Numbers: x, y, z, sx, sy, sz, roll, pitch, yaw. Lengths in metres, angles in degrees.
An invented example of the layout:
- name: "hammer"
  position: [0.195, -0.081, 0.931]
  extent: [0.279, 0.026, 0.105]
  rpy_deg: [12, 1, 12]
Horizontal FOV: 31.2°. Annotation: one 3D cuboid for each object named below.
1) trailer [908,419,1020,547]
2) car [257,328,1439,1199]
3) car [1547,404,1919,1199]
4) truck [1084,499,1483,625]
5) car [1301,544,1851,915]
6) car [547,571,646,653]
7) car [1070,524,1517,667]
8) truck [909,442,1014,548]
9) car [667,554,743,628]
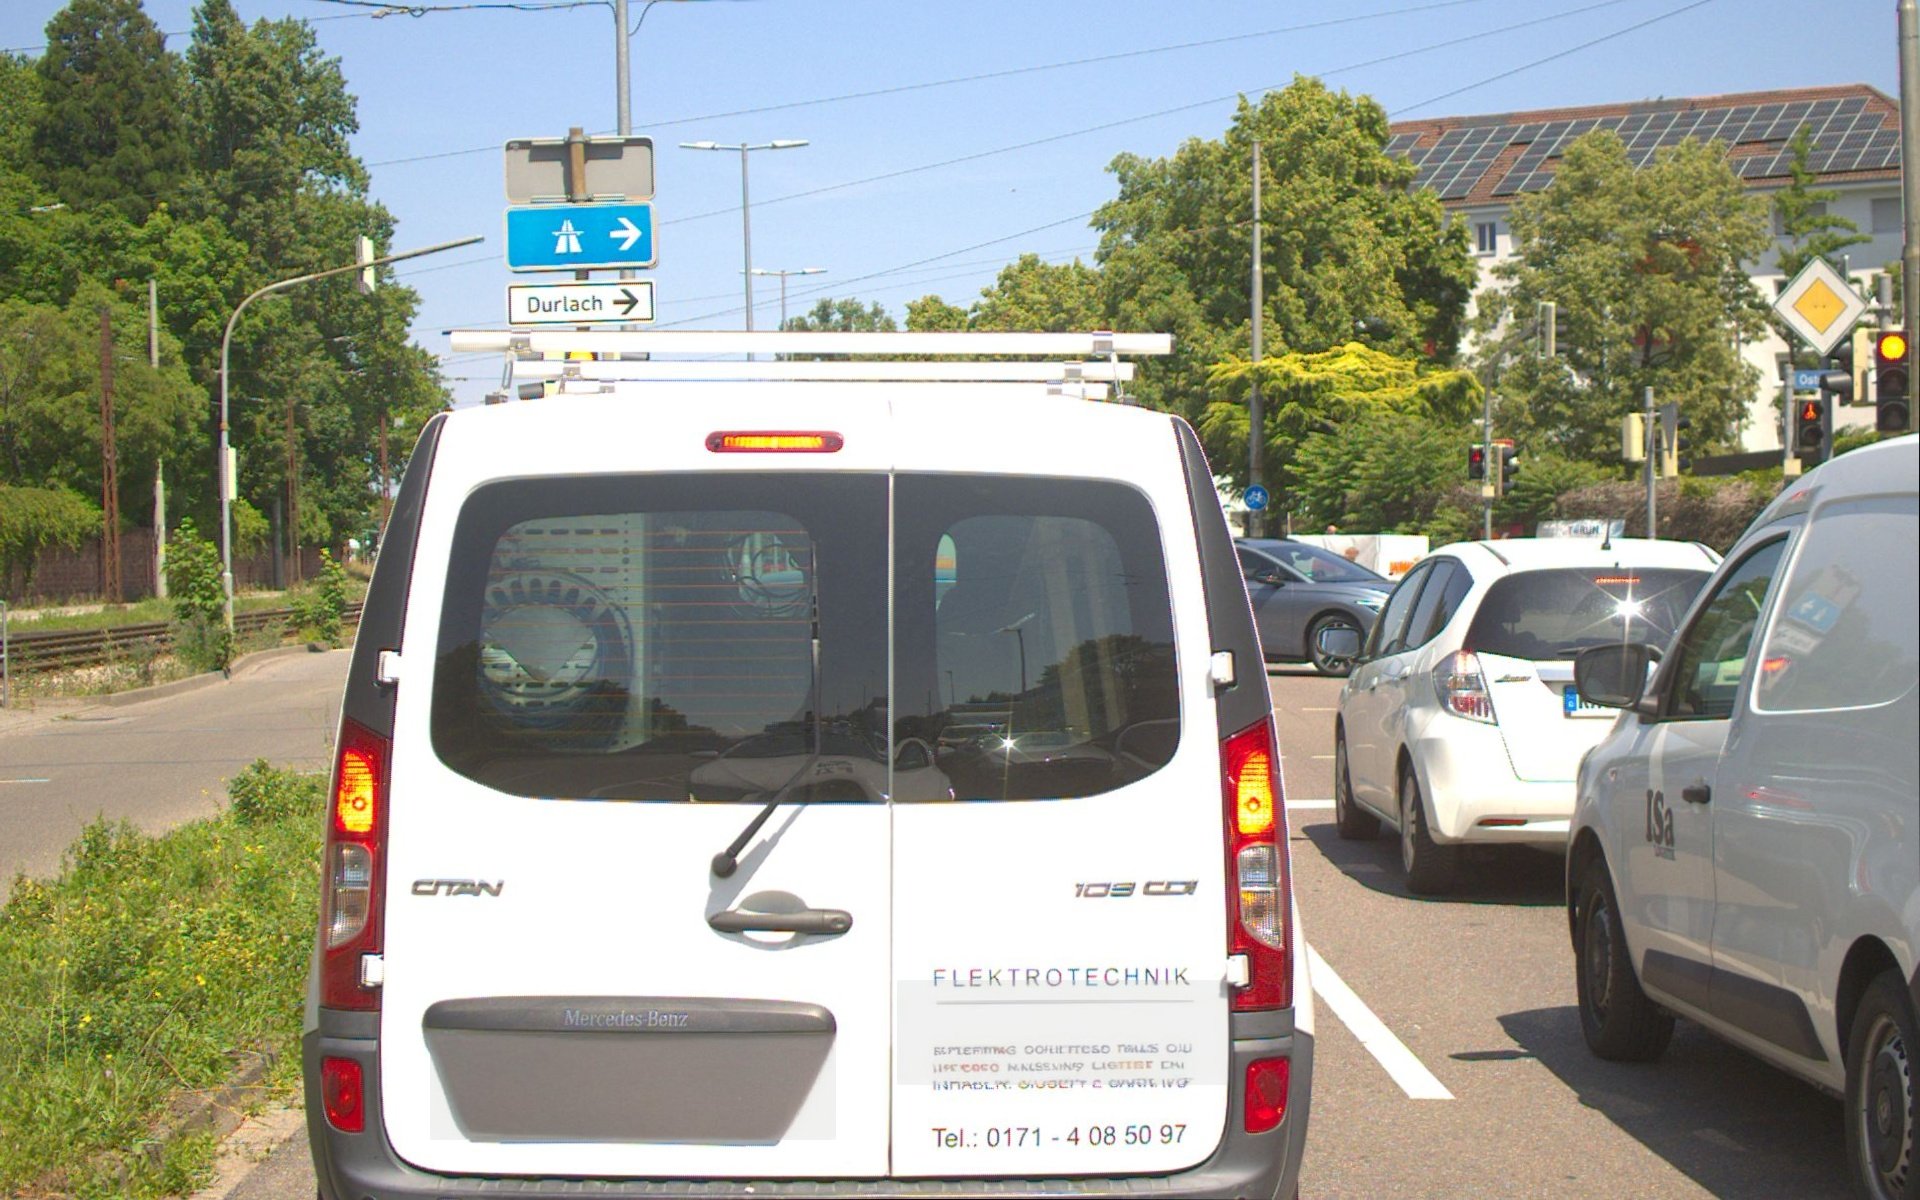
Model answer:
- name: "trailer"
  position: [0.066, -3.813, 114.248]
  extent: [3.527, 4.037, 8.978]
  rpy_deg: [-1, 1, -1]
- name: "car"
  position: [-0.225, 0.460, 7.399]
  extent: [1.866, 1.829, 3.849]
  rpy_deg: [1, 1, -1]
- name: "car"
  position: [2.711, 0.488, 8.415]
  extent: [1.710, 1.824, 4.014]
  rpy_deg: [0, 1, -2]
- name: "truck"
  position: [5.355, -0.638, 57.807]
  extent: [6.723, 2.007, 2.301]
  rpy_deg: [0, 1, 44]
- name: "car"
  position: [2.696, 0.493, 15.936]
  extent: [1.756, 1.481, 4.000]
  rpy_deg: [1, 1, -1]
- name: "car"
  position: [-6.640, 0.201, 62.837]
  extent: [1.691, 1.307, 3.885]
  rpy_deg: [3, 1, -6]
- name: "car"
  position: [3.734, -0.065, 38.907]
  extent: [4.690, 1.520, 1.996]
  rpy_deg: [0, 1, 38]
- name: "truck"
  position: [0.013, -3.701, 123.204]
  extent: [3.576, 3.620, 8.809]
  rpy_deg: [-1, 1, -1]
- name: "car"
  position: [-7.228, -0.274, 97.754]
  extent: [1.993, 2.007, 4.001]
  rpy_deg: [-1, 1, -2]
